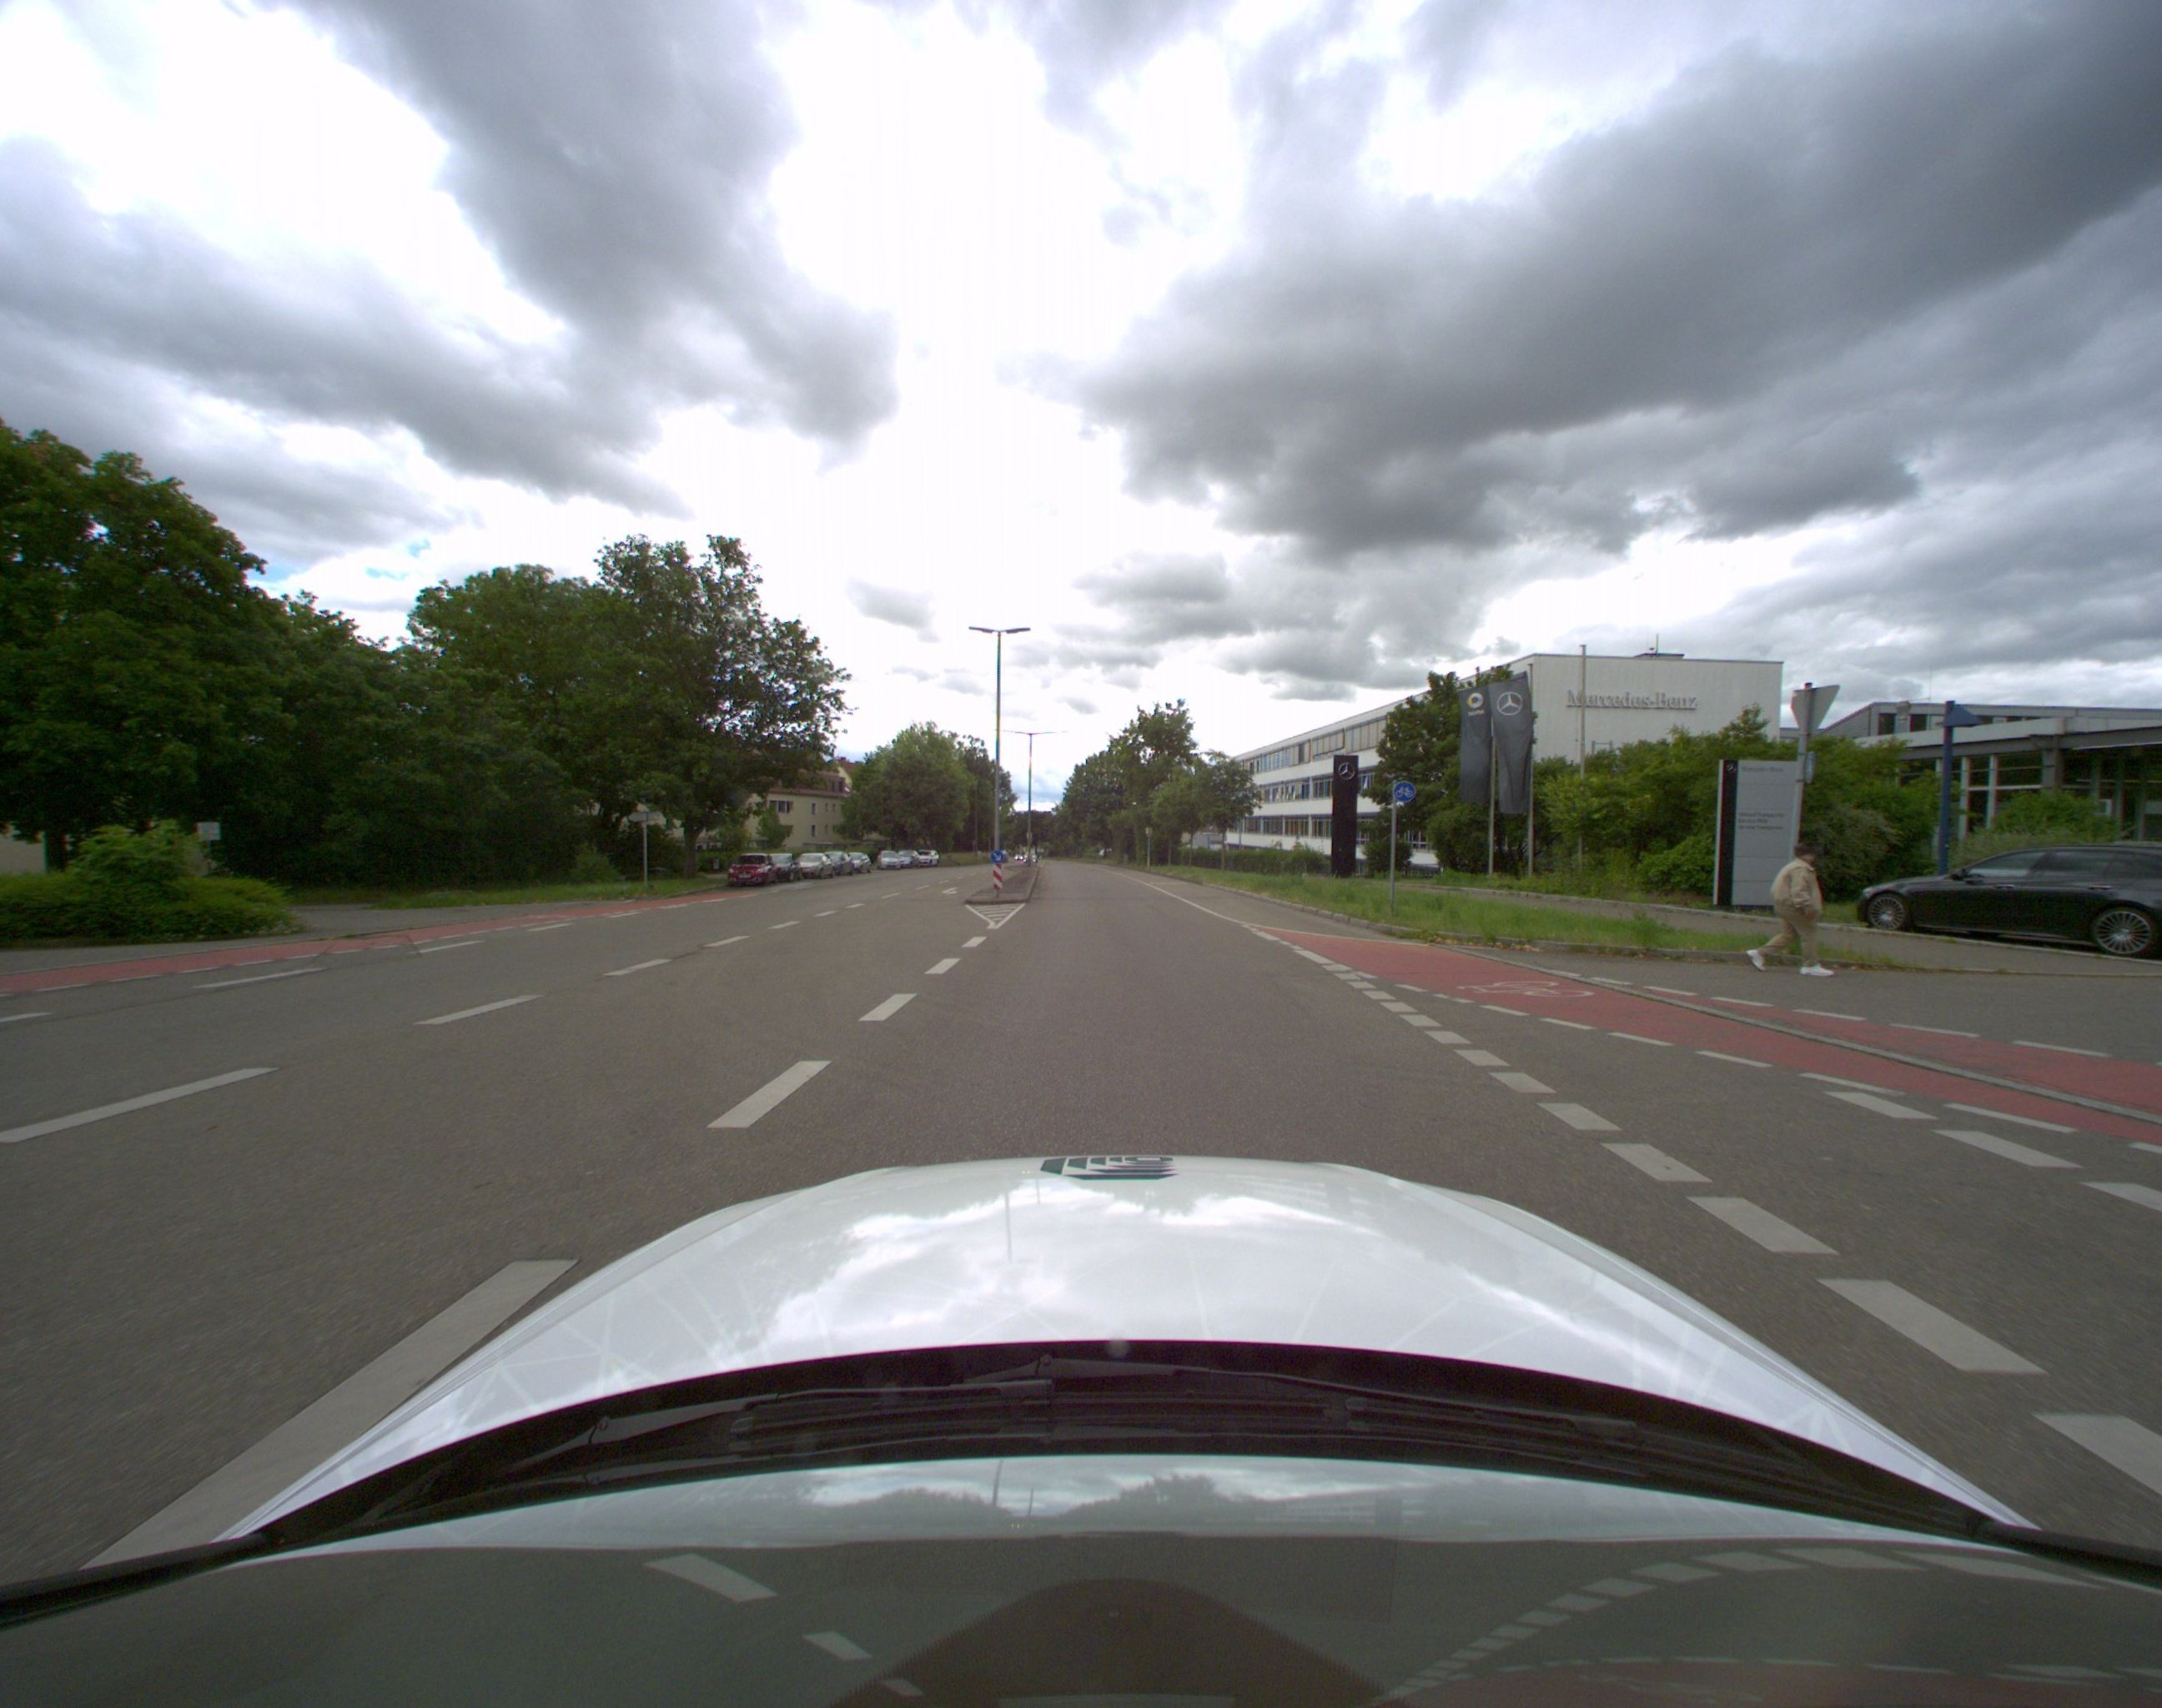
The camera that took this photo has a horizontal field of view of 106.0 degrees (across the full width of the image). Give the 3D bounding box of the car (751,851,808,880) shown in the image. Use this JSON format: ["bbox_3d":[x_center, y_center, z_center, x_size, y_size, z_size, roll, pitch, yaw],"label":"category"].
[{"bbox_3d":[-15.622,0.588,42.339,1.669,1.403,3.995,1,0,-4],"label":"car"}]

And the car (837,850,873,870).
[{"bbox_3d":[-16.108,0.416,58.296,1.669,1.403,3.995,1,0,-4],"label":"car"}]

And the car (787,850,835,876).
[{"bbox_3d":[-15.636,0.513,47.291,1.669,1.403,3.995,1,0,-4],"label":"car"}]

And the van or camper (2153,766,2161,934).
[{"bbox_3d":[19.551,0.001,10.611,1.960,2.868,6.916,0,1,-1],"label":"van or camper"}]

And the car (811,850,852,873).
[{"bbox_3d":[-16.196,0.460,53.010,1.669,1.403,3.995,1,0,-4],"label":"car"}]

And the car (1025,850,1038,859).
[{"bbox_3d":[-6.983,0.085,115.873,1.607,1.304,3.998,1,0,-1],"label":"car"}]

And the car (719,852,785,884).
[{"bbox_3d":[-15.214,0.614,37.889,1.669,1.403,3.995,1,0,-4],"label":"car"}]

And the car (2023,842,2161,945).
[{"bbox_3d":[16.715,0.618,11.544,1.705,1.508,4.344,2,1,0],"label":"car"}]

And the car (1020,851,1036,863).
[{"bbox_3d":[-5.751,0.296,88.587,1.607,1.304,3.998,1,0,-1],"label":"car"}]

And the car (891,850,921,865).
[{"bbox_3d":[-15.539,0.287,72.459,1.666,1.304,4.001,1,0,1],"label":"car"}]

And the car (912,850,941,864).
[{"bbox_3d":[-14.722,0.267,77.927,1.664,1.304,4.006,1,0,5],"label":"car"}]

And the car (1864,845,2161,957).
[{"bbox_3d":[13.891,0.547,11.414,1.705,1.354,4.344,0,1,0],"label":"car"}]

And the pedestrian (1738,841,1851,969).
[{"bbox_3d":[8.588,0.580,9.817,0.791,1.463,0.744,0,0,-20],"label":"pedestrian"}]

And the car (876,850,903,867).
[{"bbox_3d":[-15.908,0.340,67.528,1.678,1.304,3.974,0,0,-20],"label":"car"}]

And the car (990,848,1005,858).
[{"bbox_3d":[-12.026,-0.129,116.977,1.766,1.304,3.998,1,0,-1],"label":"car"}]
